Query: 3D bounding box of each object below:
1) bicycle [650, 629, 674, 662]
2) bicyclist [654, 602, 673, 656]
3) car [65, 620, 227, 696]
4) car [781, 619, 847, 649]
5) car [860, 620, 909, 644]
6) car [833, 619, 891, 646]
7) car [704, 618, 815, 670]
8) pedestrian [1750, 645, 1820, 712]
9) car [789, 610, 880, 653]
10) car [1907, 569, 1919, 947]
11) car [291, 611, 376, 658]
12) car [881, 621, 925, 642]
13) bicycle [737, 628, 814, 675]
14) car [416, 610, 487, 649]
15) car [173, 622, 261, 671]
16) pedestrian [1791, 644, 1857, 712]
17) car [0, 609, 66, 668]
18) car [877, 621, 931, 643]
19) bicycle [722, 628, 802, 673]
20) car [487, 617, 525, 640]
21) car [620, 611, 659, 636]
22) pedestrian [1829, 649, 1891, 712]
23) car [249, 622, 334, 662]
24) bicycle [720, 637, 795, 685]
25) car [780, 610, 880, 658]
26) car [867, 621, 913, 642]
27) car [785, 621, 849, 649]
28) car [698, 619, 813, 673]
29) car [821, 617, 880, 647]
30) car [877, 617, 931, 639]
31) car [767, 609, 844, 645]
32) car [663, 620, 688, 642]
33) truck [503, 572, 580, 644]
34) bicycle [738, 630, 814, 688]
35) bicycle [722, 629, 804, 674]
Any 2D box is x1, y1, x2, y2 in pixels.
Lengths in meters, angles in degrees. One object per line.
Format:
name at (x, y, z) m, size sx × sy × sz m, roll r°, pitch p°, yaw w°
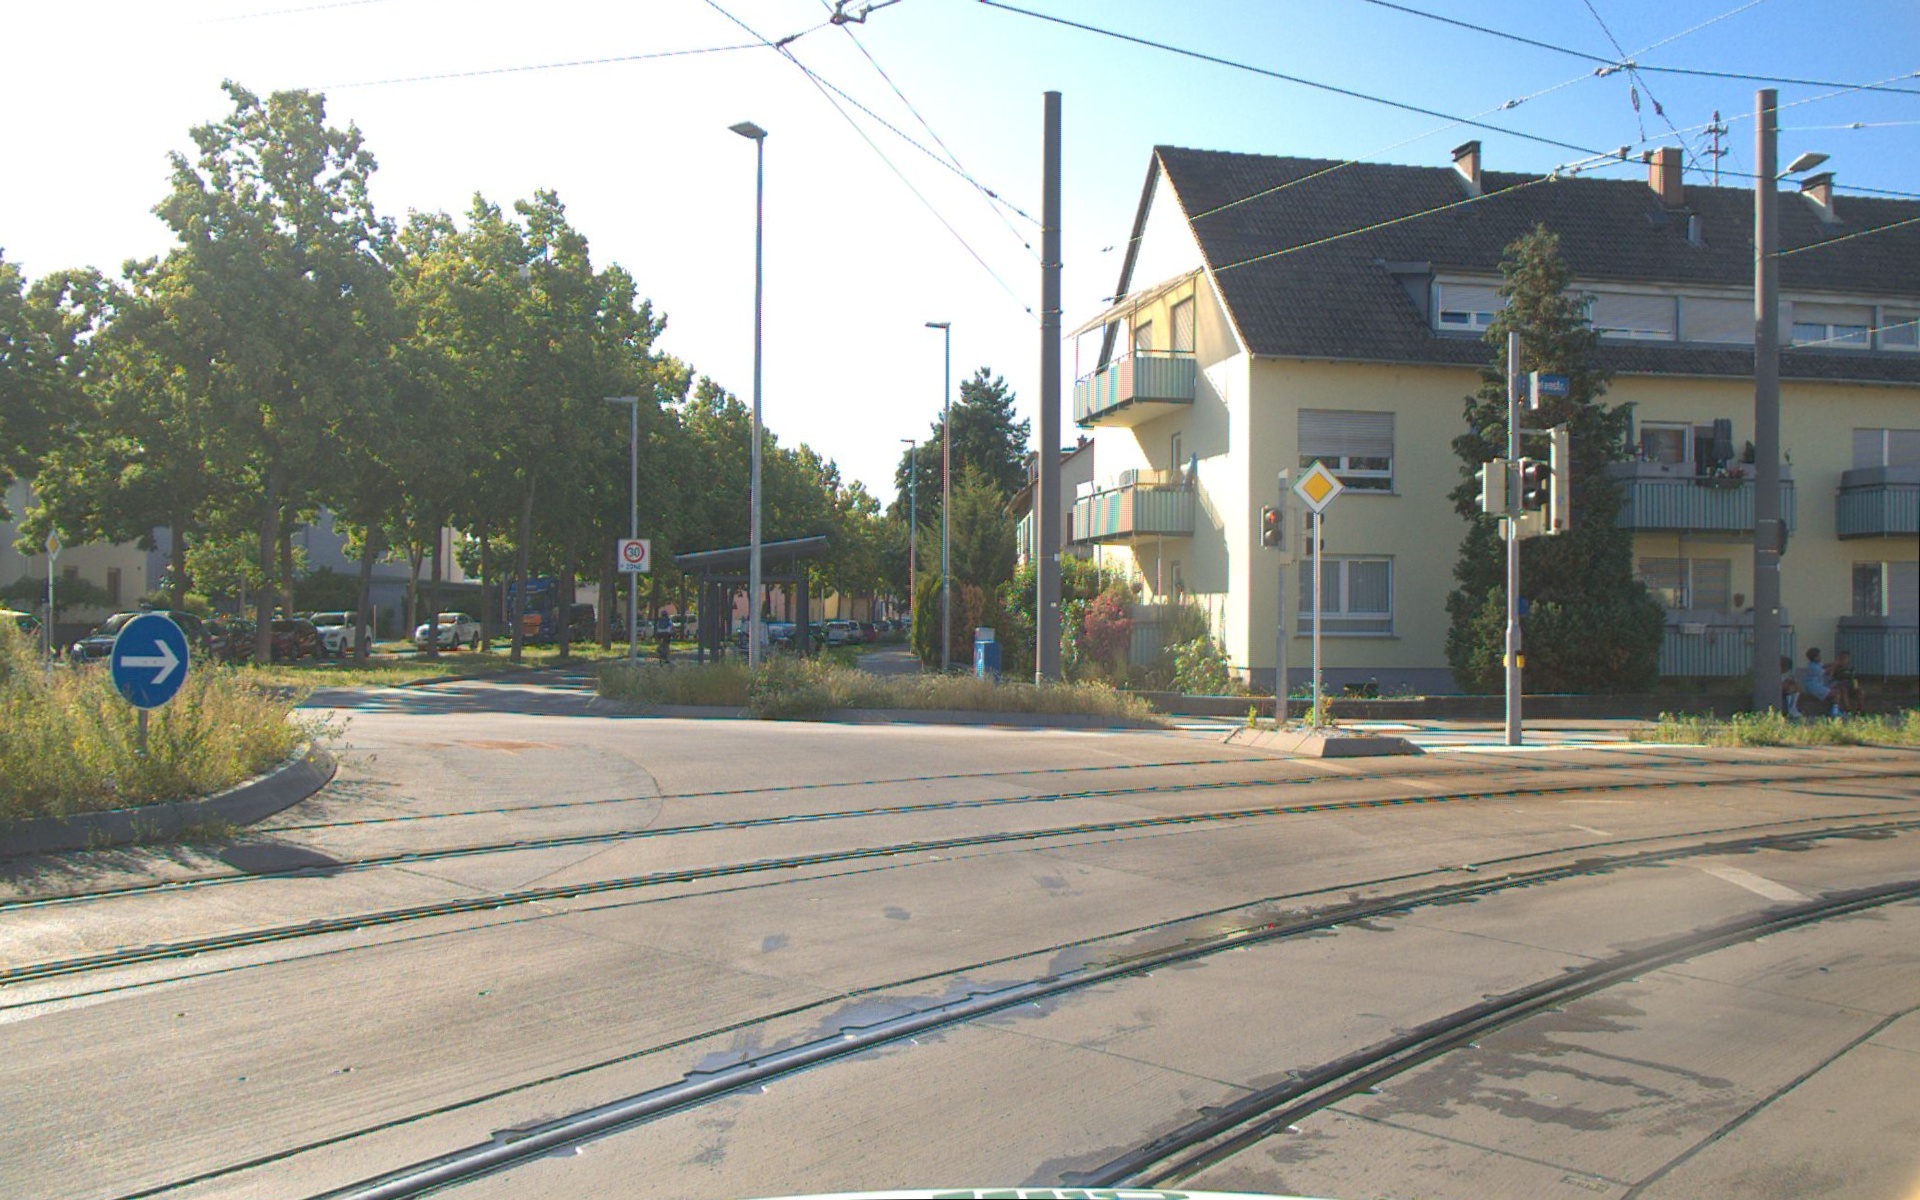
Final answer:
bicycle at (-9.834, 1.498, 54.531) m, size 0.752 × 1.055 × 1.530 m, roll 1°, pitch -2°, yaw -12°
bicyclist at (-9.824, 0.960, 54.836) m, size 0.592 × 1.744 × 0.542 m, roll 0°, pitch -5°, yaw -12°
car at (-18.937, 1.307, 38.705) m, size 1.795 × 1.608 × 4.436 m, roll 2°, pitch -1°, yaw -4°
car at (-7.779, 1.797, 88.184) m, size 3.342 × 1.560 × 1.525 m, roll 0°, pitch 0°, yaw 0°
car at (-5.436, 2.295, 118.750) m, size 3.448 × 1.560 × 1.576 m, roll 2°, pitch -1°, yaw -5°
car at (-5.871, 1.948, 99.260) m, size 3.411 × 1.519 × 1.551 m, roll 2°, pitch -1°, yaw -5°
car at (-6.511, 1.423, 53.860) m, size 3.447 × 1.560 × 1.576 m, roll 2°, pitch -1°, yaw -4°
pedestrian at (13.633, 1.287, 27.357) m, size 0.674 × 1.065 × 0.817 m, roll 1°, pitch -1°, yaw -13°
car at (-4.889, 1.238, 64.770) m, size 3.447 × 1.560 × 1.576 m, roll 2°, pitch -1°, yaw -4°
car at (6.562, 0.754, 7.593) m, size 4.191 × 1.699 × 1.803 m, roll 1°, pitch 1°, yaw -26°
car at (-24.679, 1.362, 65.296) m, size 1.954 × 1.729 × 4.214 m, roll 2°, pitch -1°, yaw -4°
car at (-4.676, 2.582, 135.567) m, size 3.448 × 1.560 × 1.576 m, roll 2°, pitch -1°, yaw -5°
bicycle at (-4.437, 1.230, 39.725) m, size 1.806 × 1.045 × 0.688 m, roll 2°, pitch -1°, yaw -8°
car at (-25.127, 1.435, 81.905) m, size 1.953 × 1.804 × 5.059 m, roll 2°, pitch -1°, yaw 0°
car at (-24.336, 1.511, 54.307) m, size 1.767 × 1.490 × 3.791 m, roll 2°, pitch -1°, yaw -12°
pedestrian at (14.435, 1.302, 27.634) m, size 0.622 × 1.083 × 0.807 m, roll 3°, pitch -2°, yaw -44°
car at (-29.722, 1.115, 50.228) m, size 3.957 × 1.724 × 1.999 m, roll 2°, pitch -1°, yaw -3°
car at (-3.695, 2.132, 108.894) m, size 3.448 × 1.318 × 1.576 m, roll 2°, pitch -1°, yaw -5°
bicycle at (-4.974, 1.270, 41.525) m, size 1.936 × 1.045 × 0.688 m, roll 2°, pitch -1°, yaw -8°
car at (-34.008, 2.132, 124.083) m, size 1.954 × 1.729 × 4.214 m, roll 0°, pitch -1°, yaw -4°
car at (-23.326, 1.728, 120.515) m, size 1.953 × 1.729 × 4.218 m, roll 2°, pitch -1°, yaw 0°
pedestrian at (15.100, 1.347, 27.751) m, size 0.588 × 1.023 × 0.715 m, roll 3°, pitch -1°, yaw -35°
car at (-24.402, 1.507, 60.493) m, size 1.925 × 1.347 × 3.992 m, roll 2°, pitch -1°, yaw -8°
bicycle at (-4.675, 1.397, 38.171) m, size 1.658 × 1.045 × 0.598 m, roll 2°, pitch -1°, yaw -8°
car at (-4.607, 1.217, 58.918) m, size 3.447 × 1.560 × 1.576 m, roll 2°, pitch -1°, yaw -4°
car at (-5.477, 2.459, 129.403) m, size 3.448 × 1.560 × 1.576 m, roll 2°, pitch -1°, yaw -5°
car at (-7.788, 1.909, 90.261) m, size 3.371 × 1.419 × 1.237 m, roll 2°, pitch -1°, yaw 0°
car at (-6.399, 1.427, 52.116) m, size 3.447 × 1.560 × 1.576 m, roll 2°, pitch -1°, yaw -4°
car at (-6.251, 1.815, 94.468) m, size 3.293 × 1.560 × 1.521 m, roll 2°, pitch -1°, yaw -5°
car at (-3.683, 1.862, 108.927) m, size 3.448 × 1.302 × 1.576 m, roll 2°, pitch -1°, yaw -5°
car at (-7.076, 1.238, 76.012) m, size 3.447 × 1.560 × 1.576 m, roll 2°, pitch -1°, yaw -4°
car at (-22.906, 2.499, 133.253) m, size 1.615 × 1.677 × 3.565 m, roll 2°, pitch -1°, yaw -4°
truck at (-25.088, 0.463, 99.582) m, size 3.009 × 4.063 × 8.001 m, roll 2°, pitch 0°, yaw -4°
bicycle at (-4.118, 1.310, 36.950) m, size 1.634 × 1.229 × 0.688 m, roll 2°, pitch -1°, yaw -8°
bicycle at (-4.839, 1.257, 40.583) m, size 1.936 × 1.045 × 0.695 m, roll 2°, pitch -1°, yaw -8°
